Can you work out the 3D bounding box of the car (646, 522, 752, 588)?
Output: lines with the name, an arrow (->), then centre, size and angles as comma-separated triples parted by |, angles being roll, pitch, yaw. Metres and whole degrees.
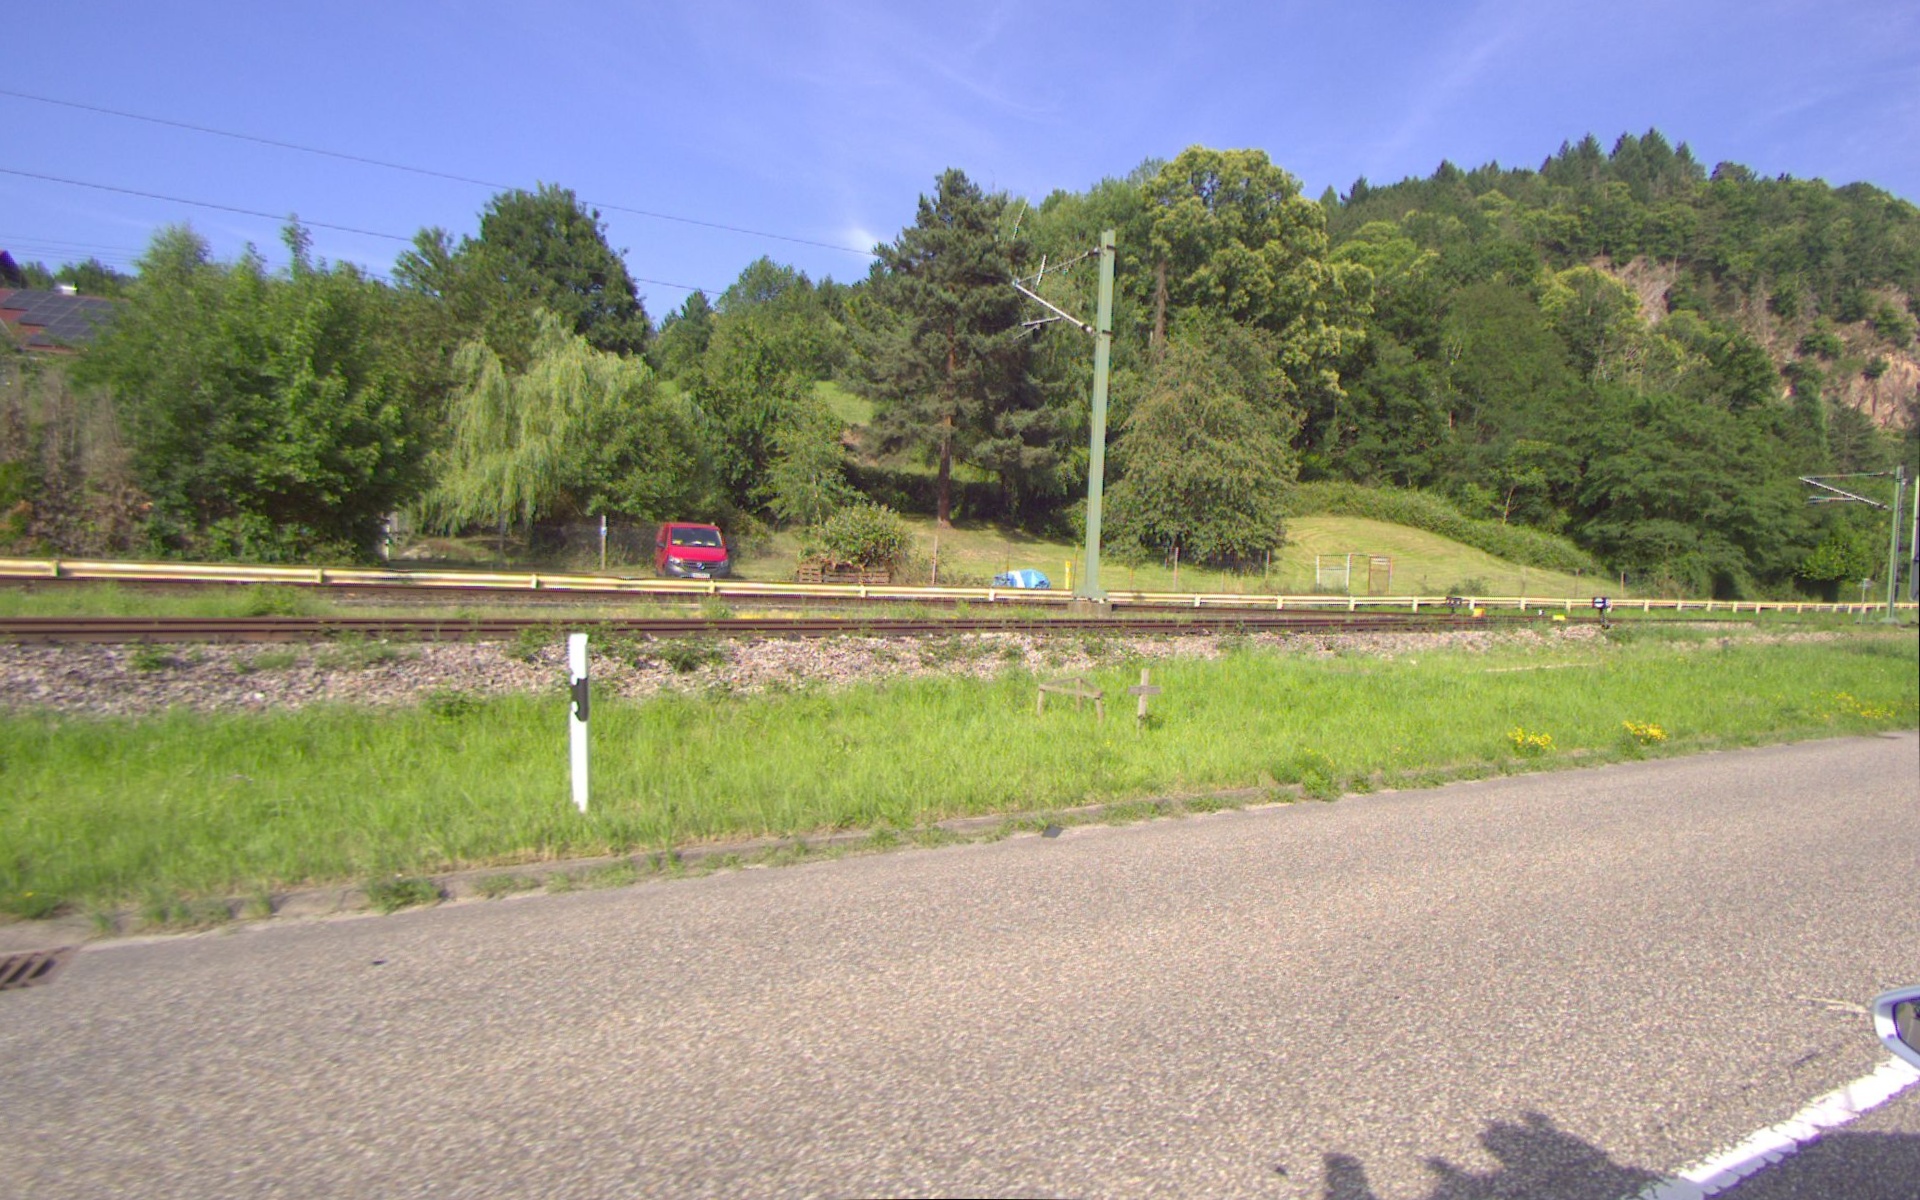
car -> -7.948, -1.327, 30.236 | 2.420, 1.714, 4.953 | 2, 1, -22
